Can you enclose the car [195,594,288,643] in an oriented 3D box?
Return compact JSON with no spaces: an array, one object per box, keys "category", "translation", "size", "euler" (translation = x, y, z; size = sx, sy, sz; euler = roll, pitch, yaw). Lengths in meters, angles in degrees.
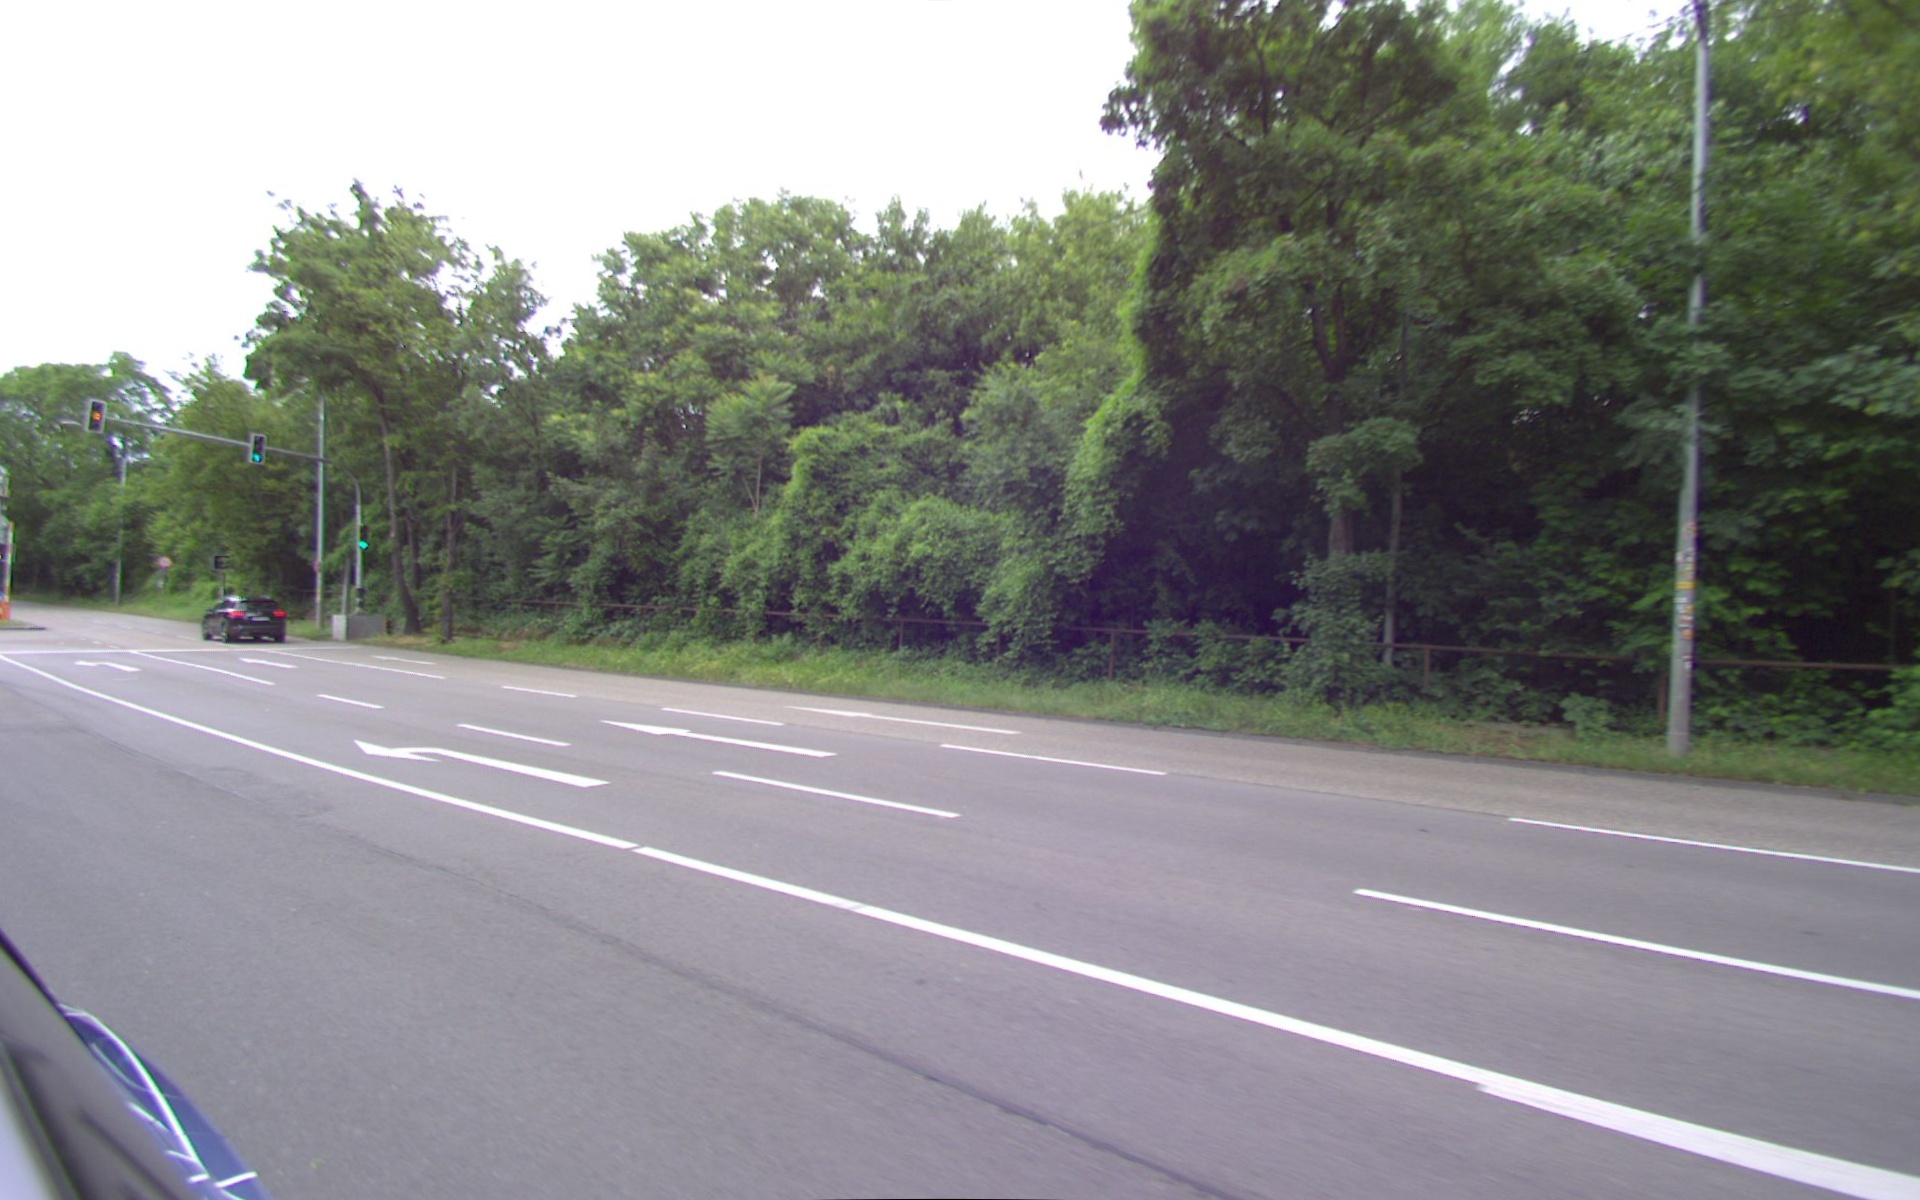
[{"category":"car","translation":[-26.205,0.636,36.880],"size":[4.219,1.666,1.803],"euler":[1,0,41]}]
